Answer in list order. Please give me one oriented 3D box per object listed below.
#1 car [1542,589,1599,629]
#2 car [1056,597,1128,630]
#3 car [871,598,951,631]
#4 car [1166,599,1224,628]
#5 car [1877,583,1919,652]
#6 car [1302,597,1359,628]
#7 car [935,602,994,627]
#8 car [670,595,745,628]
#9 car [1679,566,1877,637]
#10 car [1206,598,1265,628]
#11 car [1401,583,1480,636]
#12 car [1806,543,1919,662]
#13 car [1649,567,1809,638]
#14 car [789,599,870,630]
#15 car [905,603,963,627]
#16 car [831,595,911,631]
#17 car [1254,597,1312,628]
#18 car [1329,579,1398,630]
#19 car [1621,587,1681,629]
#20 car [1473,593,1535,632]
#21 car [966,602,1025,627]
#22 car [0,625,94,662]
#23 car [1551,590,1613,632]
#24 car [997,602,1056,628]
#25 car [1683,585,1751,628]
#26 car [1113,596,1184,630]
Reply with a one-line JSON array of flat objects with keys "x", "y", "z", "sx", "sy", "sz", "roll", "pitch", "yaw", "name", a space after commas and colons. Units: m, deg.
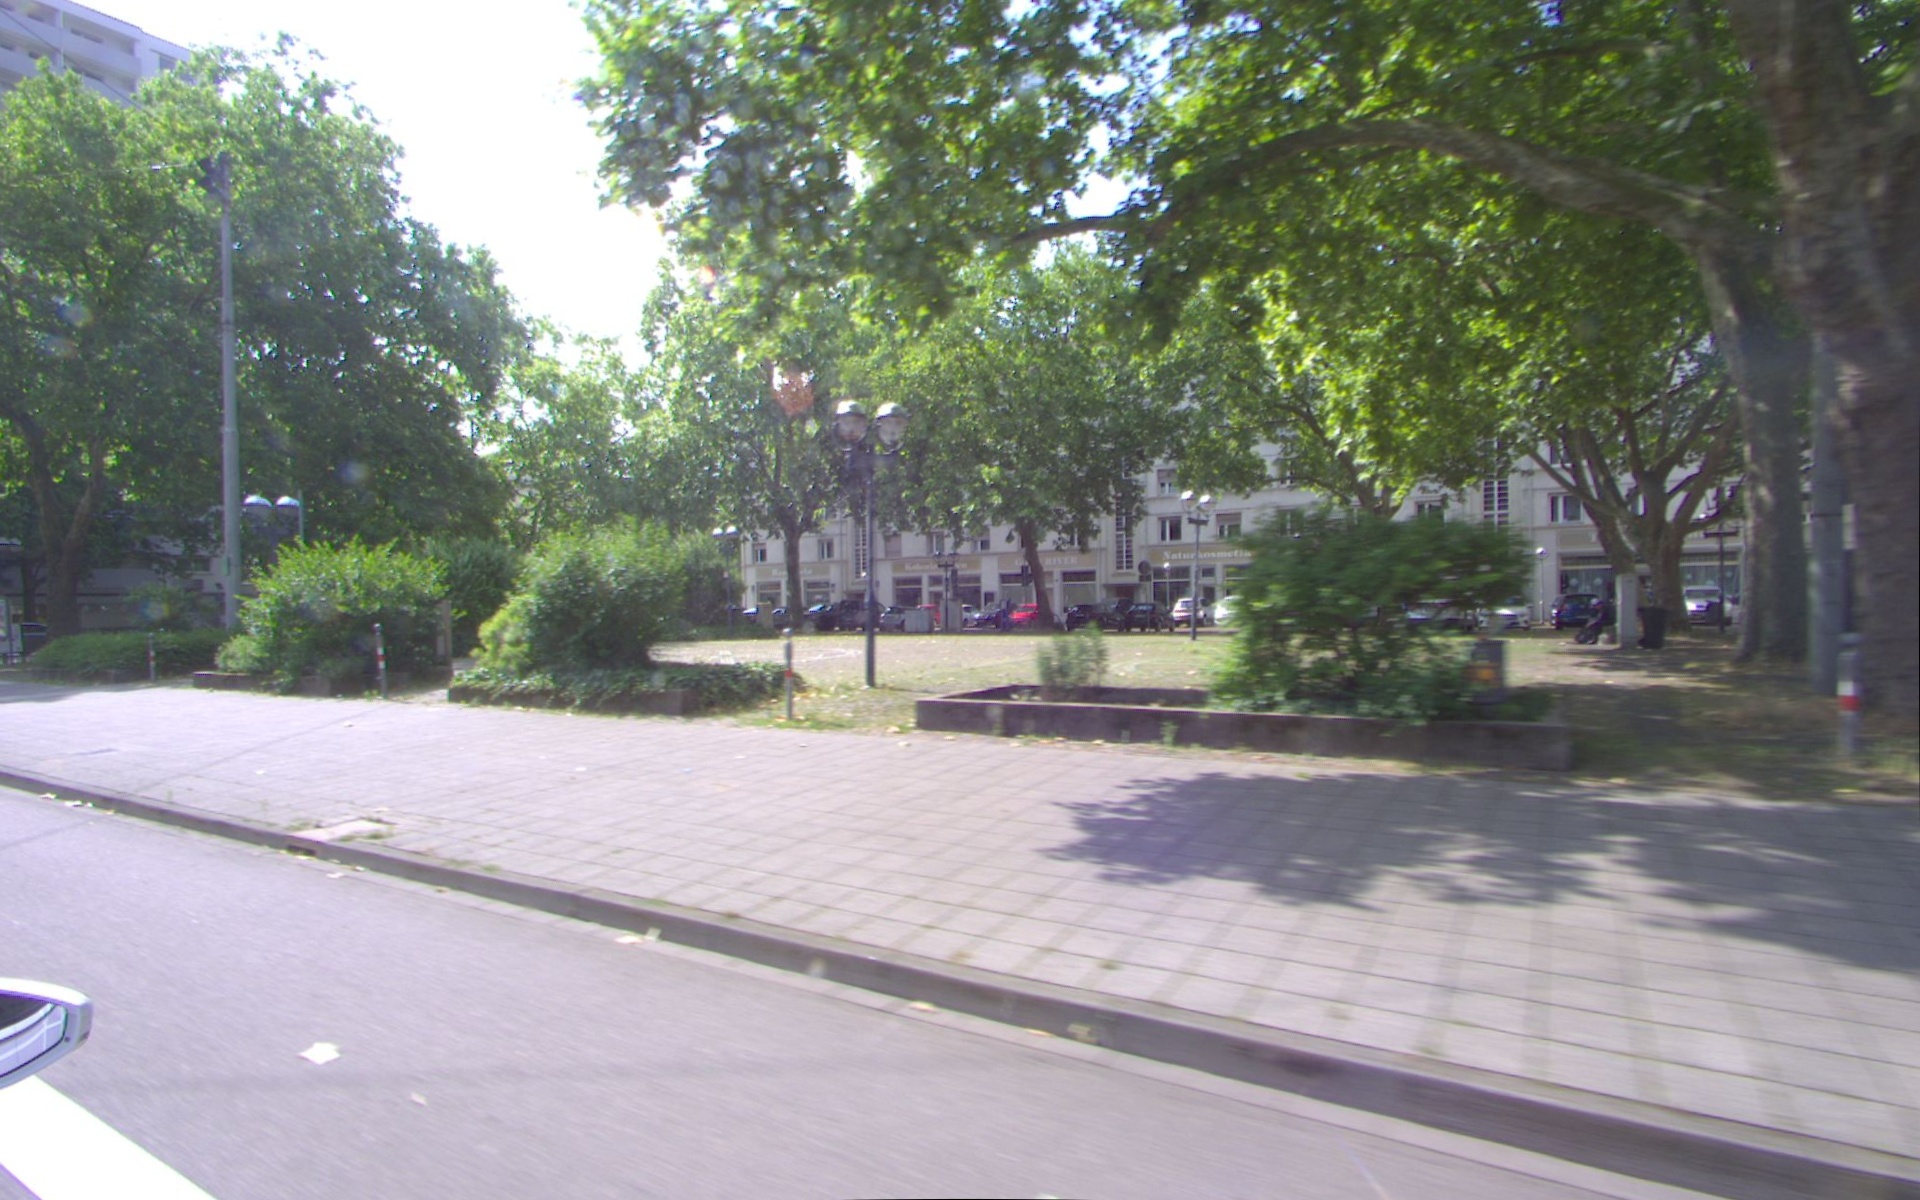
[{"x": 29.487, "y": 0.384, "z": 48.297, "sx": 2.161, "sy": 1.828, "sz": 4.730, "roll": -1, "pitch": 0, "yaw": 34, "name": "car"}, {"x": 6.625, "y": 0.635, "z": 49.764, "sx": 1.958, "sy": 1.541, "sz": 4.245, "roll": -1, "pitch": 0, "yaw": 32, "name": "car"}, {"x": -2.732, "y": 0.803, "z": 56.806, "sx": 2.161, "sy": 1.729, "sz": 4.668, "roll": -1, "pitch": 0, "yaw": 34, "name": "car"}, {"x": 13.602, "y": 0.745, "z": 57.778, "sx": 1.958, "sy": 1.570, "sz": 4.415, "roll": -1, "pitch": 0, "yaw": 32, "name": "car"}, {"x": 20.715, "y": 0.344, "z": 19.762, "sx": 3.588, "sy": 1.381, "sz": 1.578, "roll": 0, "pitch": -1, "yaw": 30, "name": "car"}, {"x": 20.054, "y": 0.641, "z": 54.092, "sx": 2.008, "sy": 1.570, "sz": 4.671, "roll": -1, "pitch": 0, "yaw": 32, "name": "car"}, {"x": 0.339, "y": 0.964, "z": 66.999, "sx": 1.958, "sy": 1.541, "sz": 4.245, "roll": -1, "pitch": 0, "yaw": 32, "name": "car"}, {"x": -15.977, "y": 0.712, "z": 63.563, "sx": 2.048, "sy": 2.040, "sz": 4.403, "roll": -1, "pitch": 0, "yaw": 33, "name": "car"}, {"x": 22.474, "y": 0.061, "z": 27.738, "sx": 3.987, "sy": 1.844, "sz": 1.820, "roll": 0, "pitch": -1, "yaw": 30, "name": "car"}, {"x": 15.571, "y": 0.694, "z": 56.354, "sx": 1.958, "sy": 1.570, "sz": 4.671, "roll": -1, "pitch": 0, "yaw": 32, "name": "car"}, {"x": 16.327, "y": 0.295, "z": 33.945, "sx": 1.971, "sy": 1.658, "sz": 4.143, "roll": -1, "pitch": 0, "yaw": 32, "name": "car"}, {"x": 15.895, "y": 0.035, "z": 15.083, "sx": 4.588, "sy": 1.777, "sz": 2.002, "roll": -1, "pitch": -1, "yaw": 34, "name": "car"}, {"x": 23.035, "y": 0.091, "z": 30.186, "sx": 3.588, "sy": 2.014, "sz": 1.819, "roll": -1, "pitch": 1, "yaw": 30, "name": "car"}, {"x": -7.621, "y": 0.830, "z": 58.677, "sx": 2.161, "sy": 1.729, "sz": 4.668, "roll": -1, "pitch": 0, "yaw": 34, "name": "car"}, {"x": -1.755, "y": 0.998, "z": 68.781, "sx": 1.958, "sy": 1.541, "sz": 4.245, "roll": -1, "pitch": 0, "yaw": 32, "name": "car"}, {"x": -5.070, "y": 0.717, "z": 57.617, "sx": 2.161, "sy": 1.955, "sz": 4.668, "roll": -1, "pitch": 0, "yaw": 34, "name": "car"}, {"x": 17.925, "y": 0.671, "z": 55.399, "sx": 1.958, "sy": 1.570, "sz": 4.671, "roll": -1, "pitch": 0, "yaw": 32, "name": "car"}, {"x": 17.277, "y": 0.178, "z": 42.776, "sx": 2.047, "sy": 2.040, "sz": 4.245, "roll": -1, "pitch": 0, "yaw": 32, "name": "car"}, {"x": 31.845, "y": 0.339, "z": 46.234, "sx": 2.161, "sy": 1.828, "sz": 4.668, "roll": -1, "pitch": 0, "yaw": 34, "name": "car"}, {"x": 21.548, "y": 0.458, "z": 39.597, "sx": 1.931, "sy": 1.440, "sz": 4.156, "roll": -1, "pitch": 0, "yaw": 32, "name": "car"}, {"x": 2.346, "y": 0.944, "z": 65.223, "sx": 1.958, "sy": 1.541, "sz": 4.245, "roll": -1, "pitch": 0, "yaw": 32, "name": "car"}, {"x": -40.108, "y": 1.838, "z": 42.928, "sx": 1.674, "sy": 1.409, "sz": 4.493, "roll": -1, "pitch": 0, "yaw": 9, "name": "car"}, {"x": 24.342, "y": 0.401, "z": 39.193, "sx": 1.971, "sy": 1.544, "sz": 4.143, "roll": -1, "pitch": 0, "yaw": 32, "name": "car"}, {"x": 4.254, "y": 0.917, "z": 63.667, "sx": 1.958, "sy": 1.541, "sz": 4.245, "roll": -1, "pitch": 0, "yaw": 32, "name": "car"}, {"x": 33.805, "y": 0.278, "z": 44.840, "sx": 2.161, "sy": 1.828, "sz": 4.730, "roll": -1, "pitch": 0, "yaw": 34, "name": "car"}, {"x": 9.111, "y": 0.613, "z": 48.266, "sx": 1.958, "sy": 1.541, "sz": 4.245, "roll": -1, "pitch": 0, "yaw": 32, "name": "car"}]
